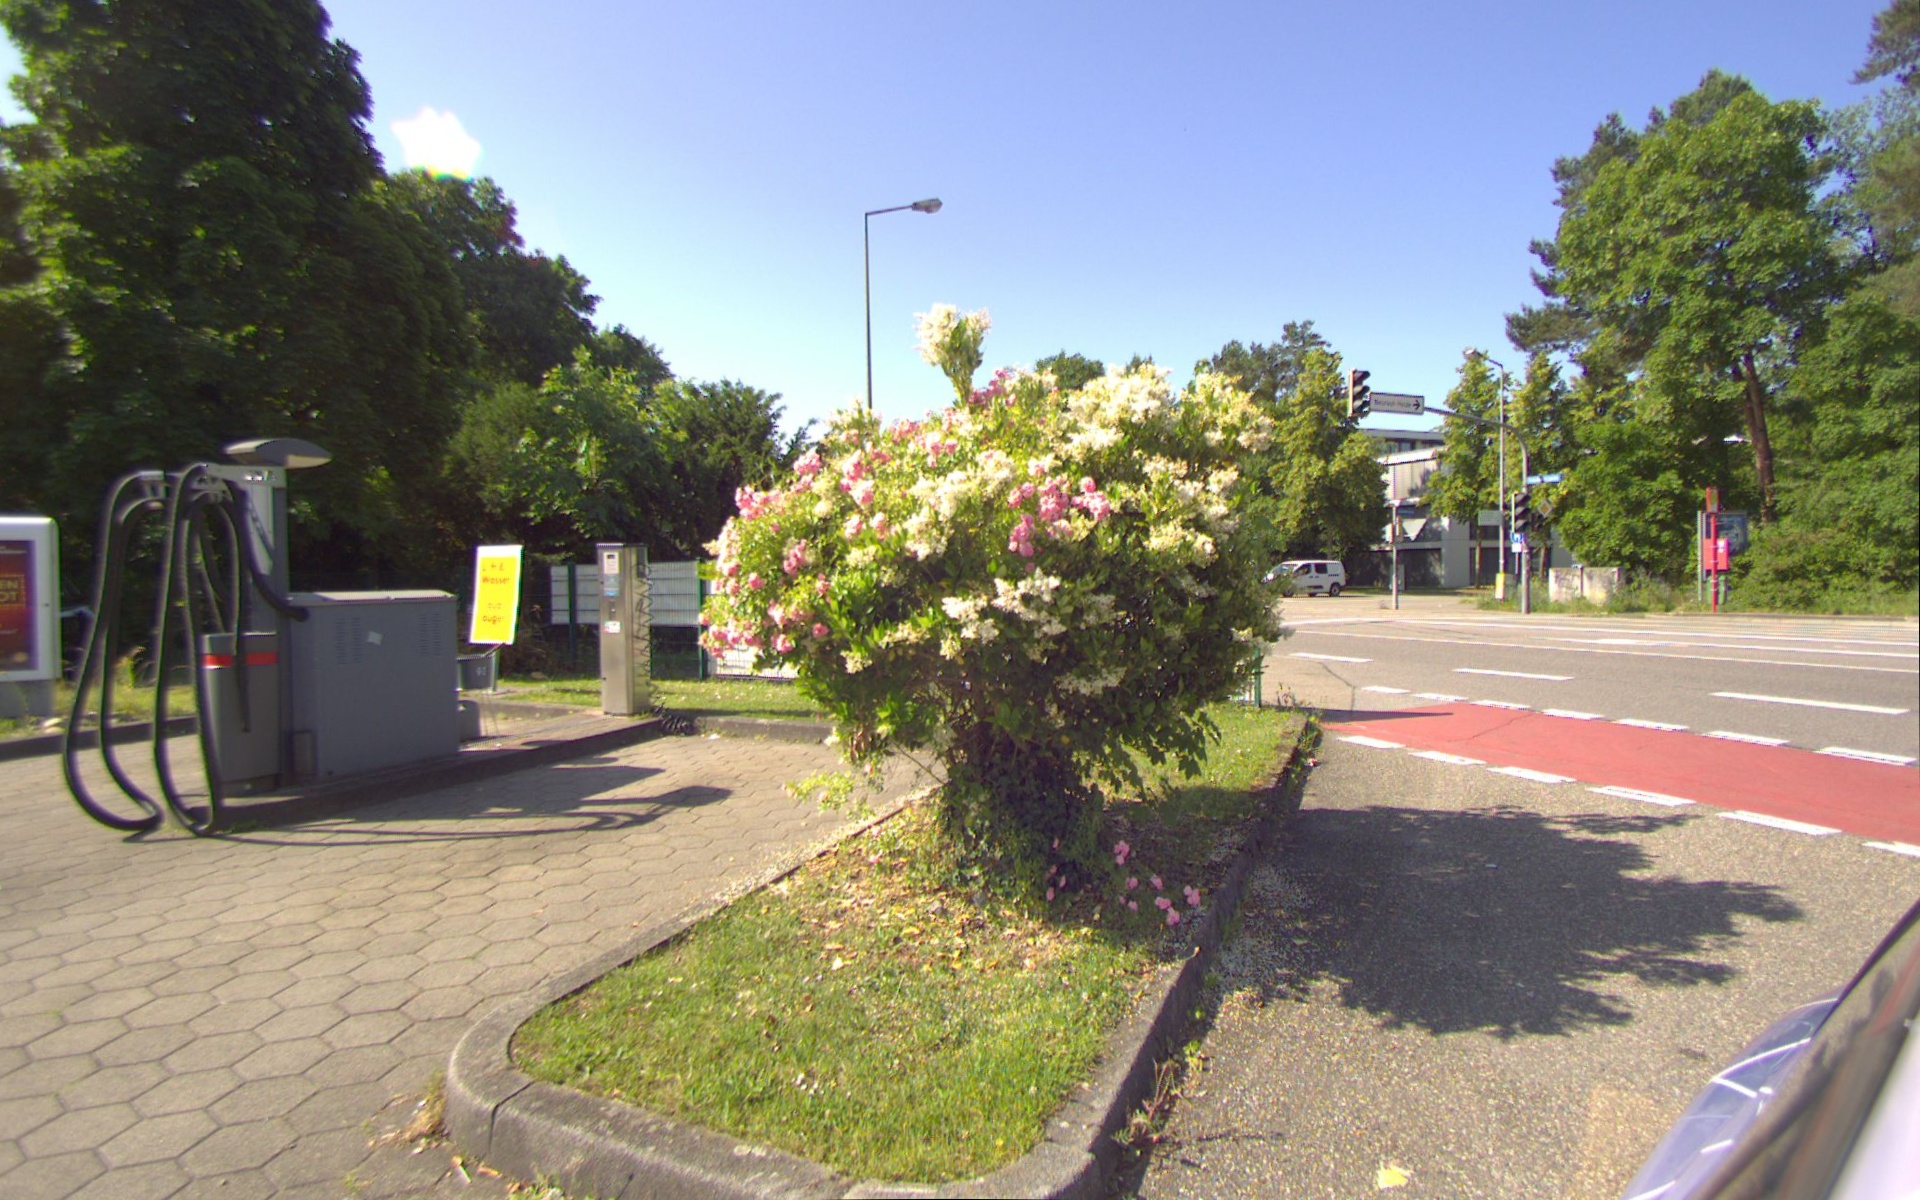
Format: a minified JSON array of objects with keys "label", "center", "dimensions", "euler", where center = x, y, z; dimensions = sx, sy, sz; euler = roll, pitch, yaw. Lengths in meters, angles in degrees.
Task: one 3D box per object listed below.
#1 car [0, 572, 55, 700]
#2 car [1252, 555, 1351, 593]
[{"label":"car","center":[-12.054,0.456,11.398],"dimensions":[1.649,1.530,3.947],"euler":[-2,1,-25]},{"label":"car","center":[16.879,-1.288,50.026],"dimensions":[4.564,1.800,1.856],"euler":[-1,1,-23]}]
